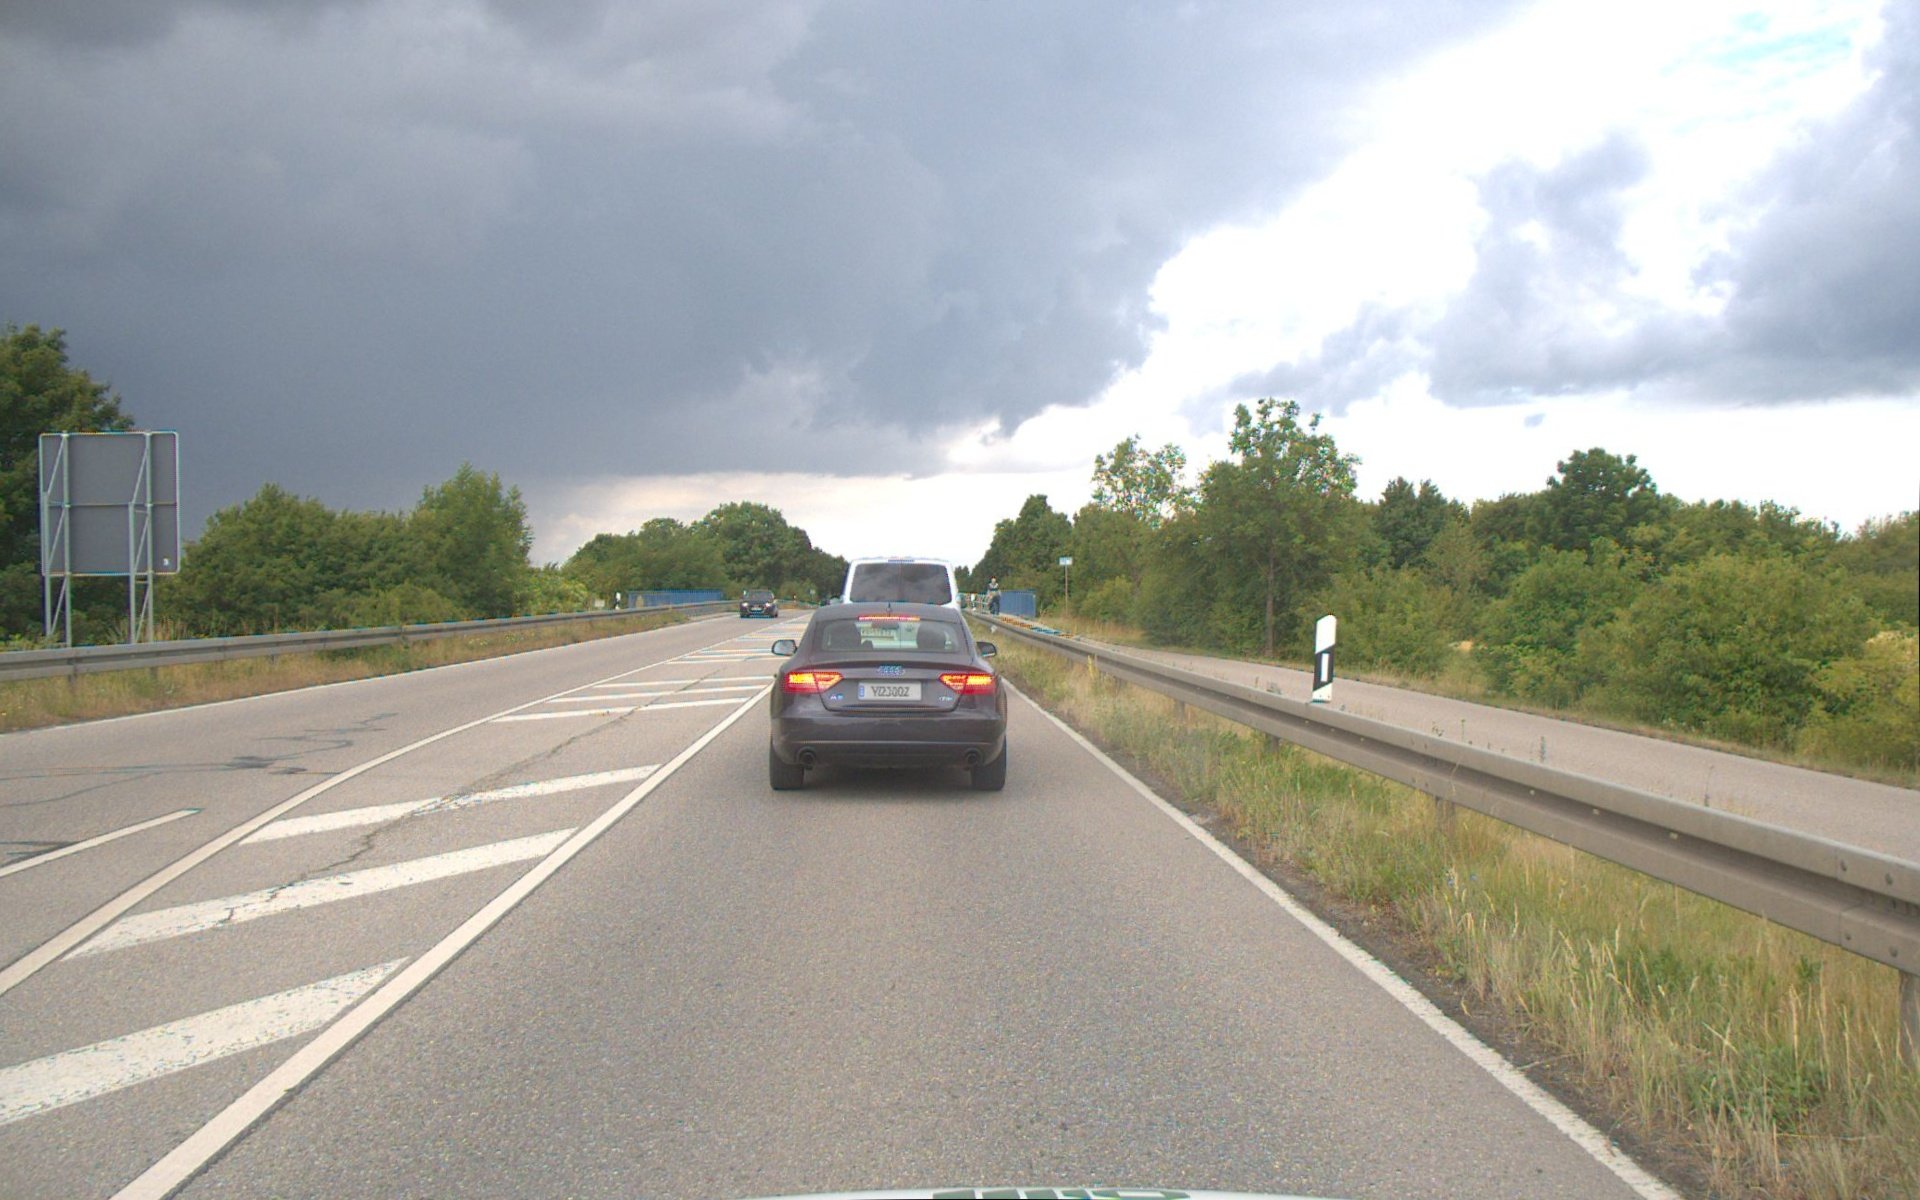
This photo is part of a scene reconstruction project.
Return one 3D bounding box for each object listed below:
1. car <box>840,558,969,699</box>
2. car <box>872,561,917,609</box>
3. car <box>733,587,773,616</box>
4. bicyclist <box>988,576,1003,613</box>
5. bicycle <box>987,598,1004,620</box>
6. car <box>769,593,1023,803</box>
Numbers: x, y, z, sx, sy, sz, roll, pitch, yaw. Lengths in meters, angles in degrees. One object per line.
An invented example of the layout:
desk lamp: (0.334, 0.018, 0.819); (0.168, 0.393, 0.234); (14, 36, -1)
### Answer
car: (-0.847, 0.401, 24.795); (1.750, 1.923, 3.998); (1, 0, -3)
car: (-3.600, -0.826, 91.816); (2.398, 2.548, 5.039); (1, 0, -2)
car: (-10.602, 0.068, 84.887); (1.826, 1.400, 3.997); (1, 0, -4)
bicyclist: (1.610, -0.260, 74.831); (0.634, 1.674, 0.866); (0, 0, -3)
bicycle: (1.617, 0.399, 74.749); (0.652, 0.936, 1.829); (-1, 0, -3)
car: (-0.526, 0.692, 13.504); (1.750, 1.448, 3.998); (1, 0, -3)
